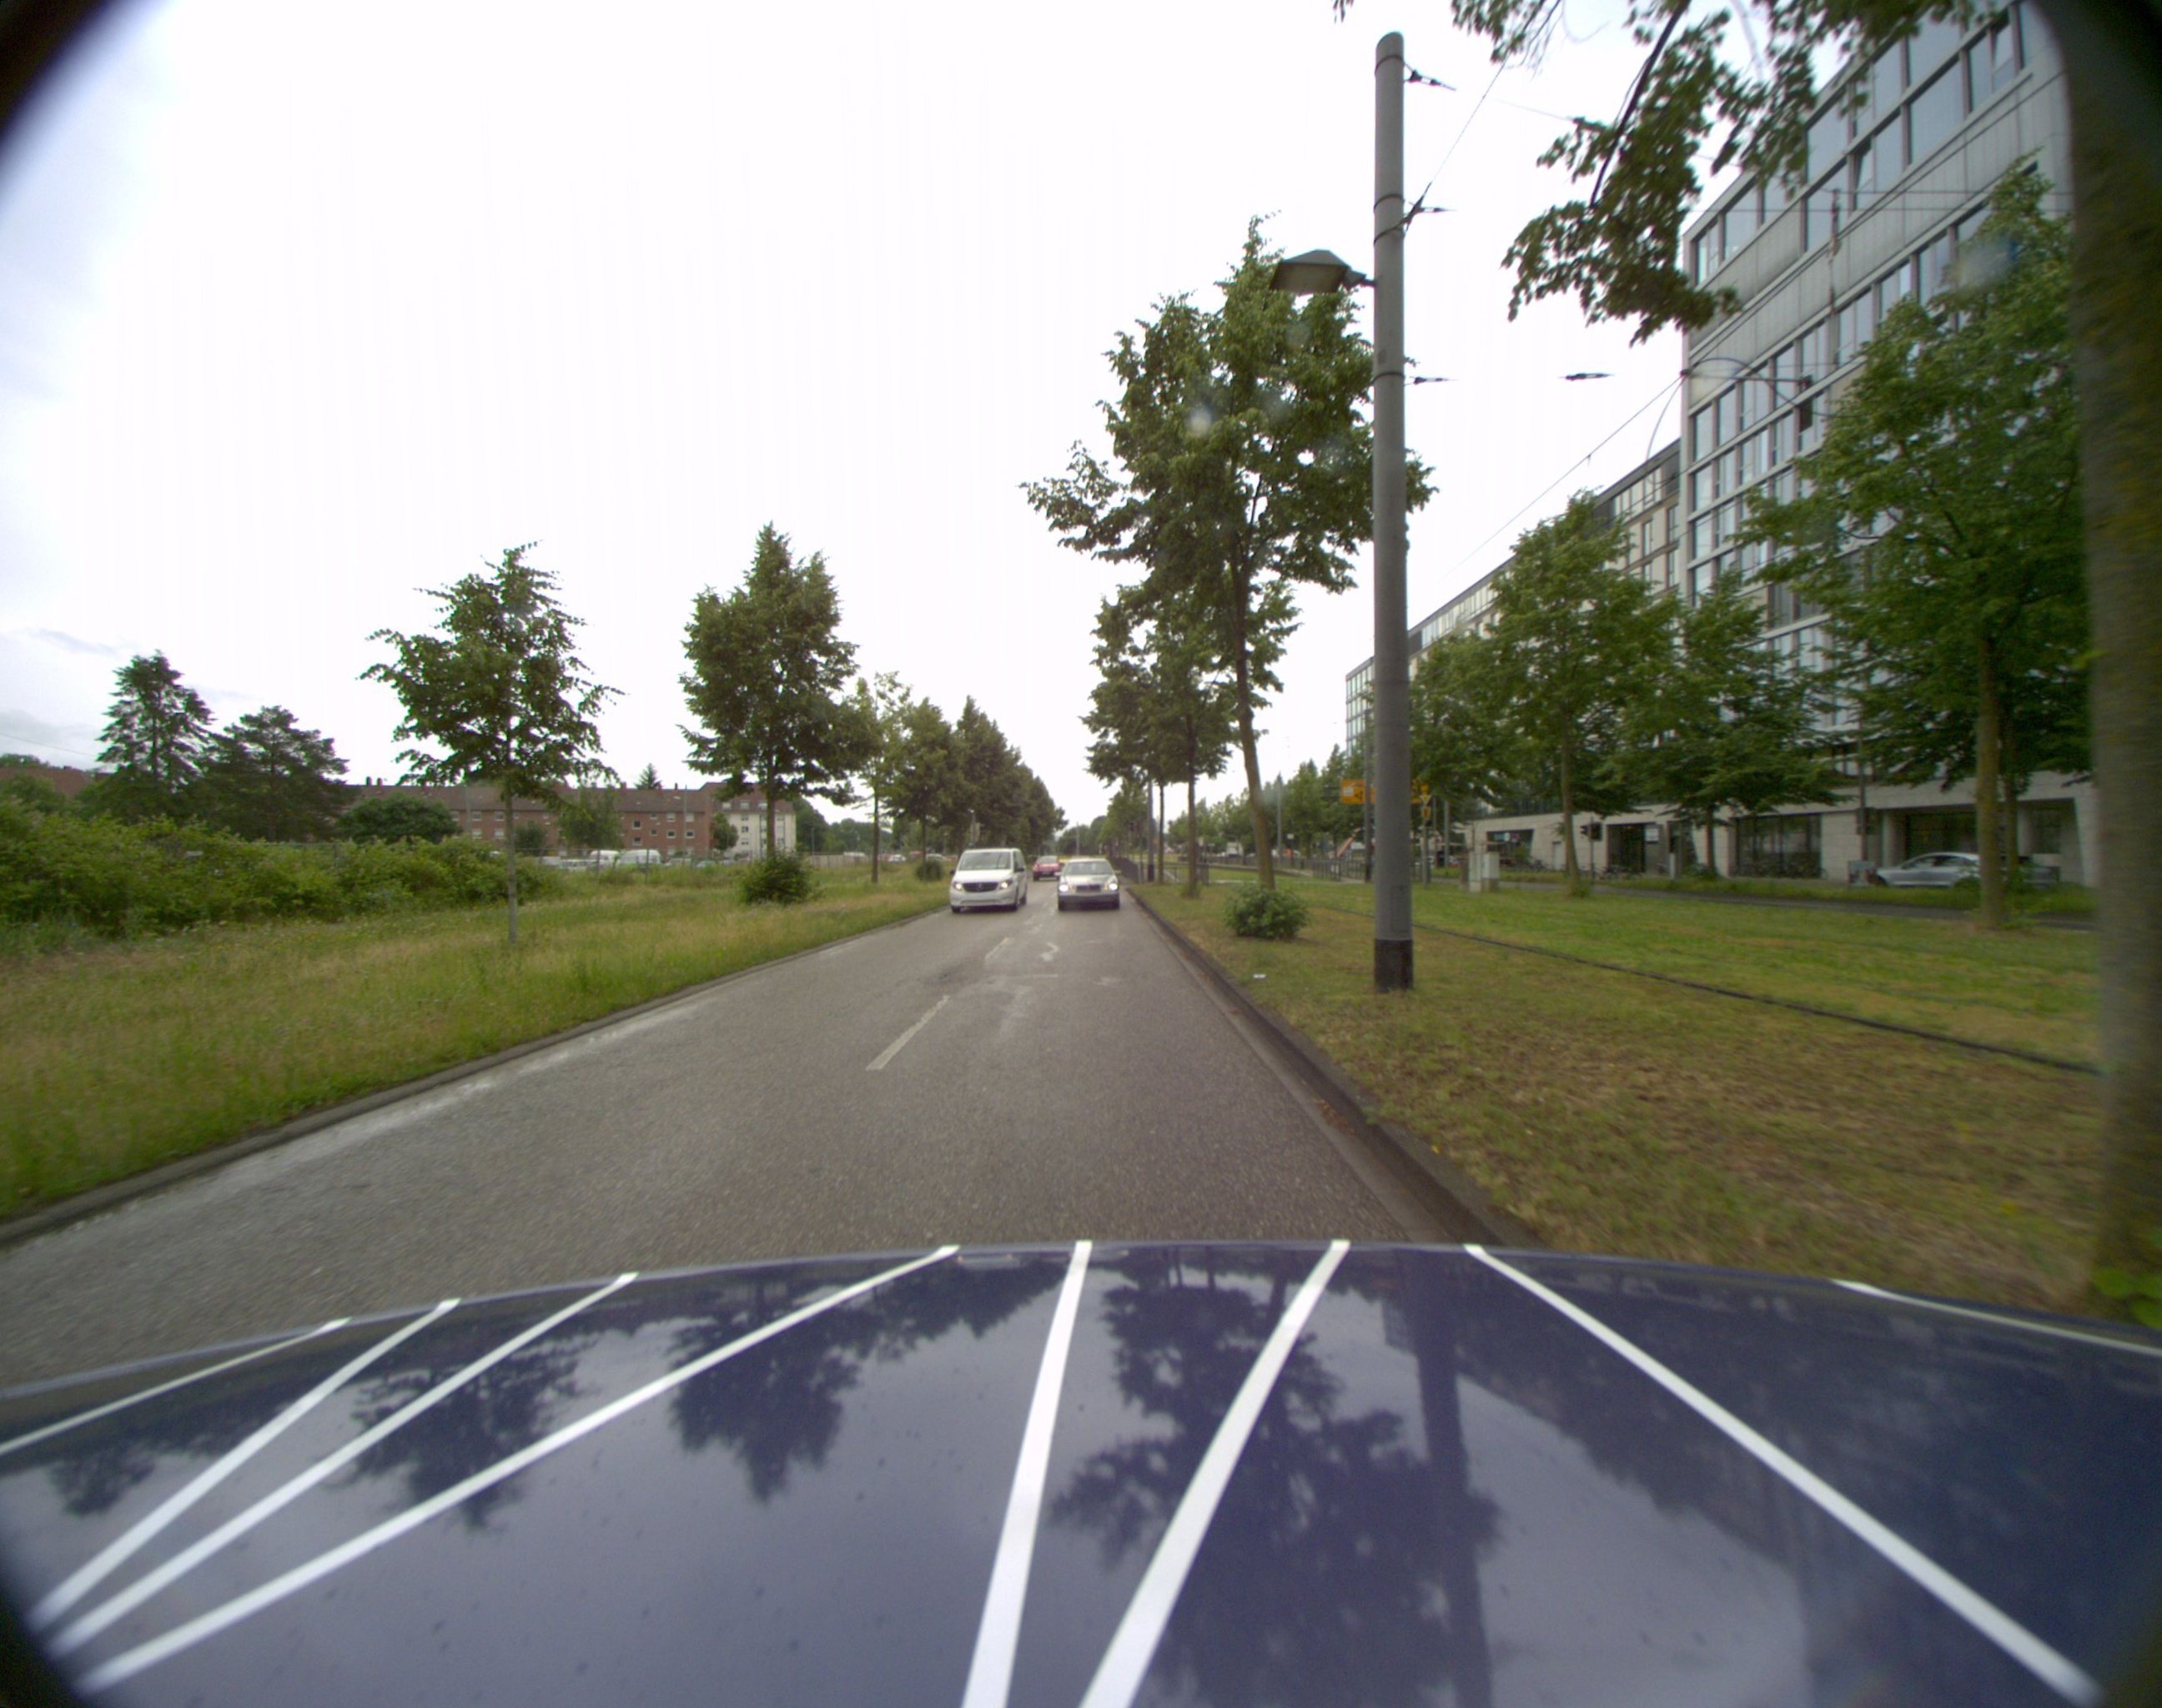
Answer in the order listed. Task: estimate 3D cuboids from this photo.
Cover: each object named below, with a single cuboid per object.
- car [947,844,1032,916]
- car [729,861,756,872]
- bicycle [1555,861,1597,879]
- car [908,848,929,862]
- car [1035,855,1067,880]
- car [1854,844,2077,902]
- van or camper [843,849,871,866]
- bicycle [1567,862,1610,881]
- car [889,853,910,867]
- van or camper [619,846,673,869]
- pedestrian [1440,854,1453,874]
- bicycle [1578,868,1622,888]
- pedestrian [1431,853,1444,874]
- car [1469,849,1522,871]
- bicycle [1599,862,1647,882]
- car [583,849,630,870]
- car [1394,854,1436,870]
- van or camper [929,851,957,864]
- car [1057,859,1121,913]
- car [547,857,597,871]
[{"bbox_3d":[-2.698,0.704,23.691,1.972,1.968,5.091,-1,1,0],"label":"car"},{"bbox_3d":[-47.250,1.722,106.154,2.000,1.379,4.565,-2,0,-7],"label":"car"},{"bbox_3d":[29.353,0.958,45.074,1.983,1.028,0.696,-1,0,2],"label":"bicycle"},{"bbox_3d":[-28.052,0.136,131.420,1.996,2.297,4.004,-1,0,14],"label":"car"},{"bbox_3d":[-1.970,0.873,50.833,1.799,1.603,4.246,-1,0,2],"label":"car"},{"bbox_3d":[28.751,0.573,24.984,2.150,1.702,4.464,-1,0,1],"label":"car"},{"bbox_3d":[-40.568,0.585,137.835,2.343,3.017,5.515,-2,0,12],"label":"van or camper"},{"bbox_3d":[29.224,0.991,43.760,1.983,1.029,0.696,-1,1,2],"label":"bicycle"},{"bbox_3d":[-31.503,0.993,132.115,1.997,2.297,4.003,-1,0,9],"label":"car"},{"bbox_3d":[-46.123,0.348,80.726,2.208,2.294,6.147,-2,0,-1],"label":"van or camper"},{"bbox_3d":[30.211,0.816,62.851,0.712,1.681,0.793,-1,0,4],"label":"pedestrian"},{"bbox_3d":[28.876,1.325,42.291,1.983,1.029,0.696,-1,1,2],"label":"bicycle"},{"bbox_3d":[29.425,0.790,62.700,0.712,1.681,0.793,-1,0,4],"label":"pedestrian"},{"bbox_3d":[33.470,0.458,61.508,1.998,1.684,4.192,-1,0,1],"label":"car"},{"bbox_3d":[28.840,0.974,40.441,1.983,1.028,0.696,-1,0,2],"label":"bicycle"},{"bbox_3d":[-52.710,0.589,84.535,2.278,2.207,4.758,-1,0,-3],"label":"car"},{"bbox_3d":[28.845,0.701,65.724,1.998,1.281,4.070,-1,1,3],"label":"car"},{"bbox_3d":[-22.644,0.644,124.544,4.334,2.002,1.860,-1,0,-5],"label":"van or camper"},{"bbox_3d":[0.228,0.900,23.379,1.738,1.451,4.607,-1,0,0],"label":"car"},{"bbox_3d":[-52.409,1.035,78.319,2.096,1.344,4.758,-1,0,-3],"label":"car"}]
